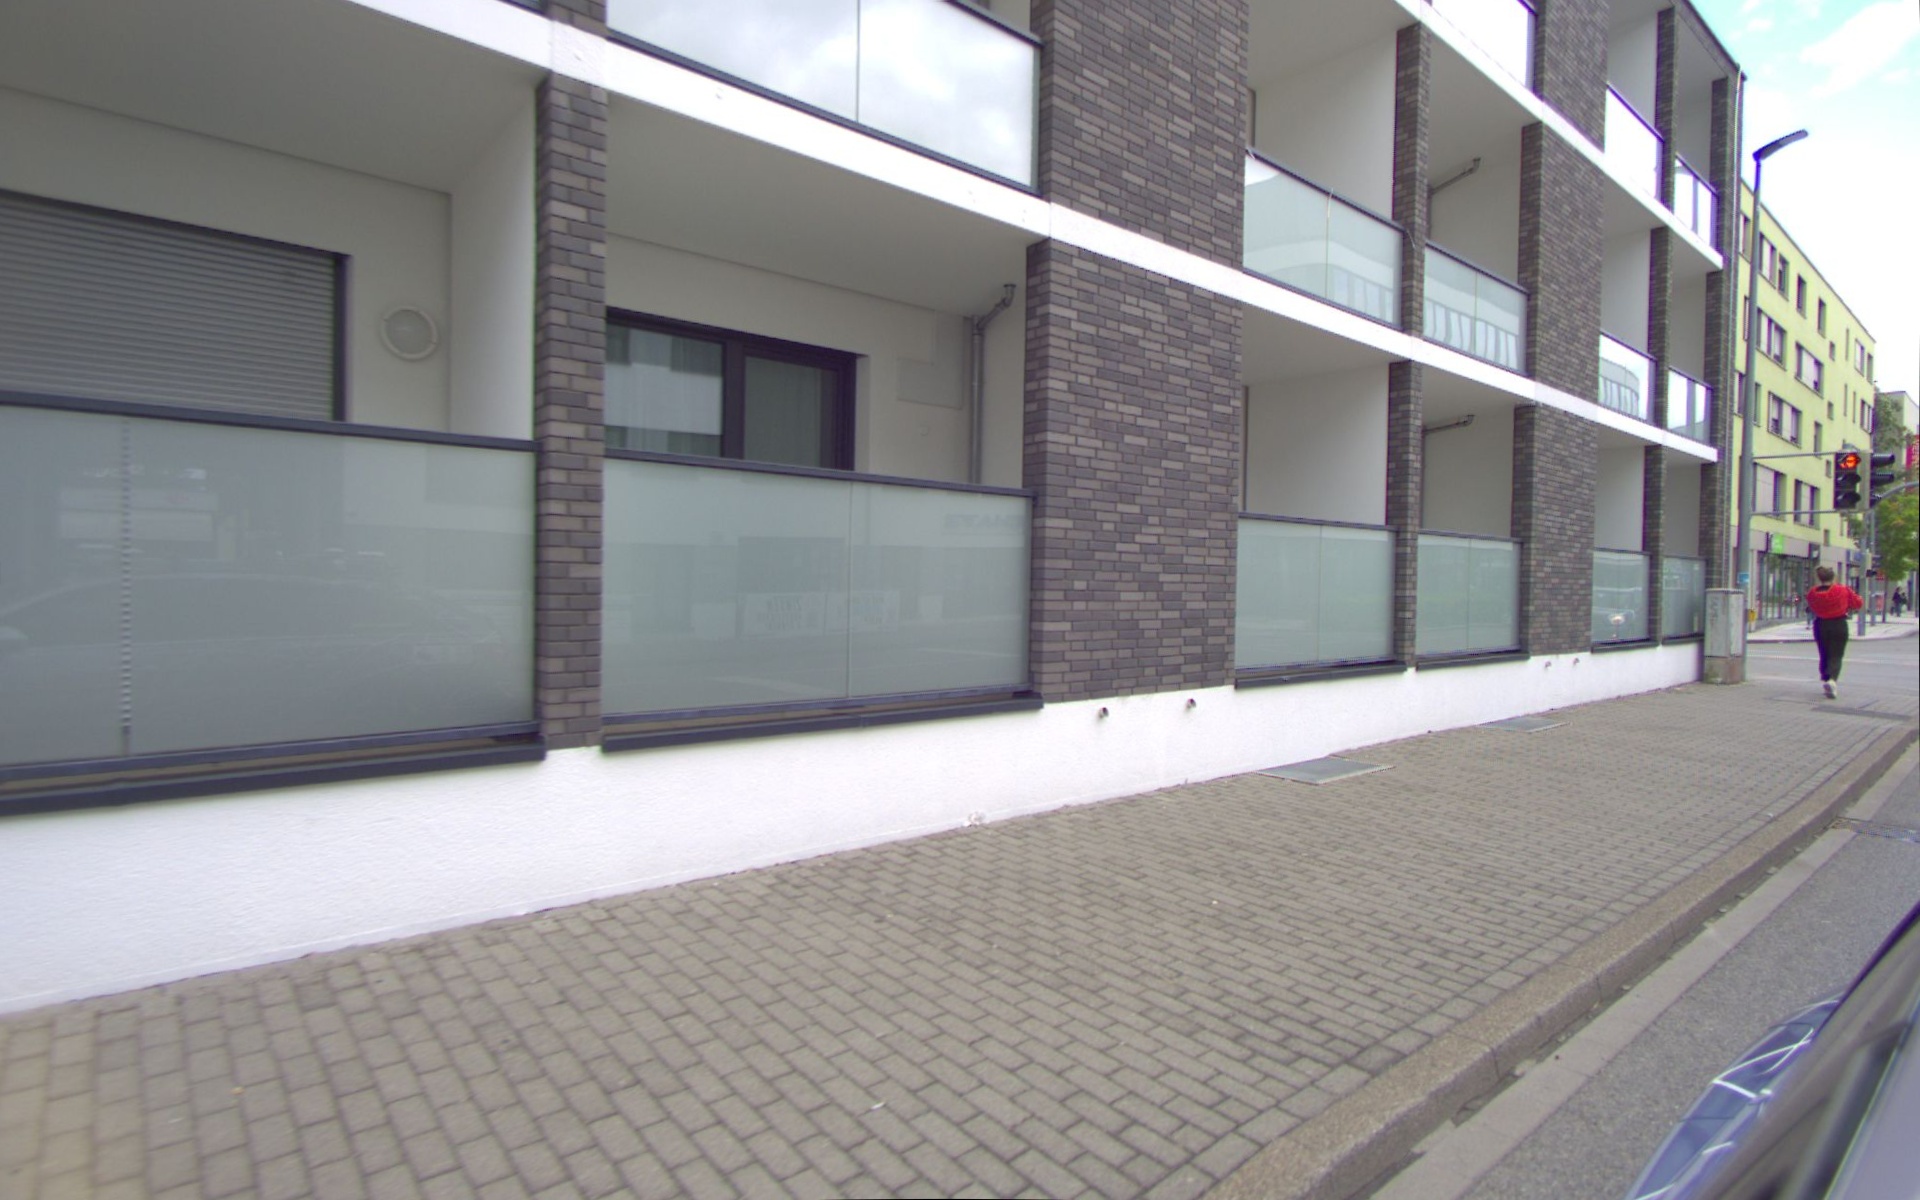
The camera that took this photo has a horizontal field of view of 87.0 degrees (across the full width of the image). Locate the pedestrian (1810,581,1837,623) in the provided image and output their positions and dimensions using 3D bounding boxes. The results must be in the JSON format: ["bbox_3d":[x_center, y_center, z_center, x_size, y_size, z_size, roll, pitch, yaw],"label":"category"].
[{"bbox_3d":[34.093,0.092,39.963,0.593,1.613,0.696,0,2,-42],"label":"pedestrian"}]

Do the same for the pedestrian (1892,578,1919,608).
[{"bbox_3d":[51.126,-0.382,54.749,0.998,1.603,0.948,0,2,-42],"label":"pedestrian"}]

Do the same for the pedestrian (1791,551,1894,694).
[{"bbox_3d":[11.789,0.274,13.526,0.846,1.808,0.810,0,4,-40],"label":"pedestrian"}]

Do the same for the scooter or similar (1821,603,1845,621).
[{"bbox_3d":[34.752,0.487,40.291,0.810,0.681,0.593,0,3,-42],"label":"scooter or similar"}]
